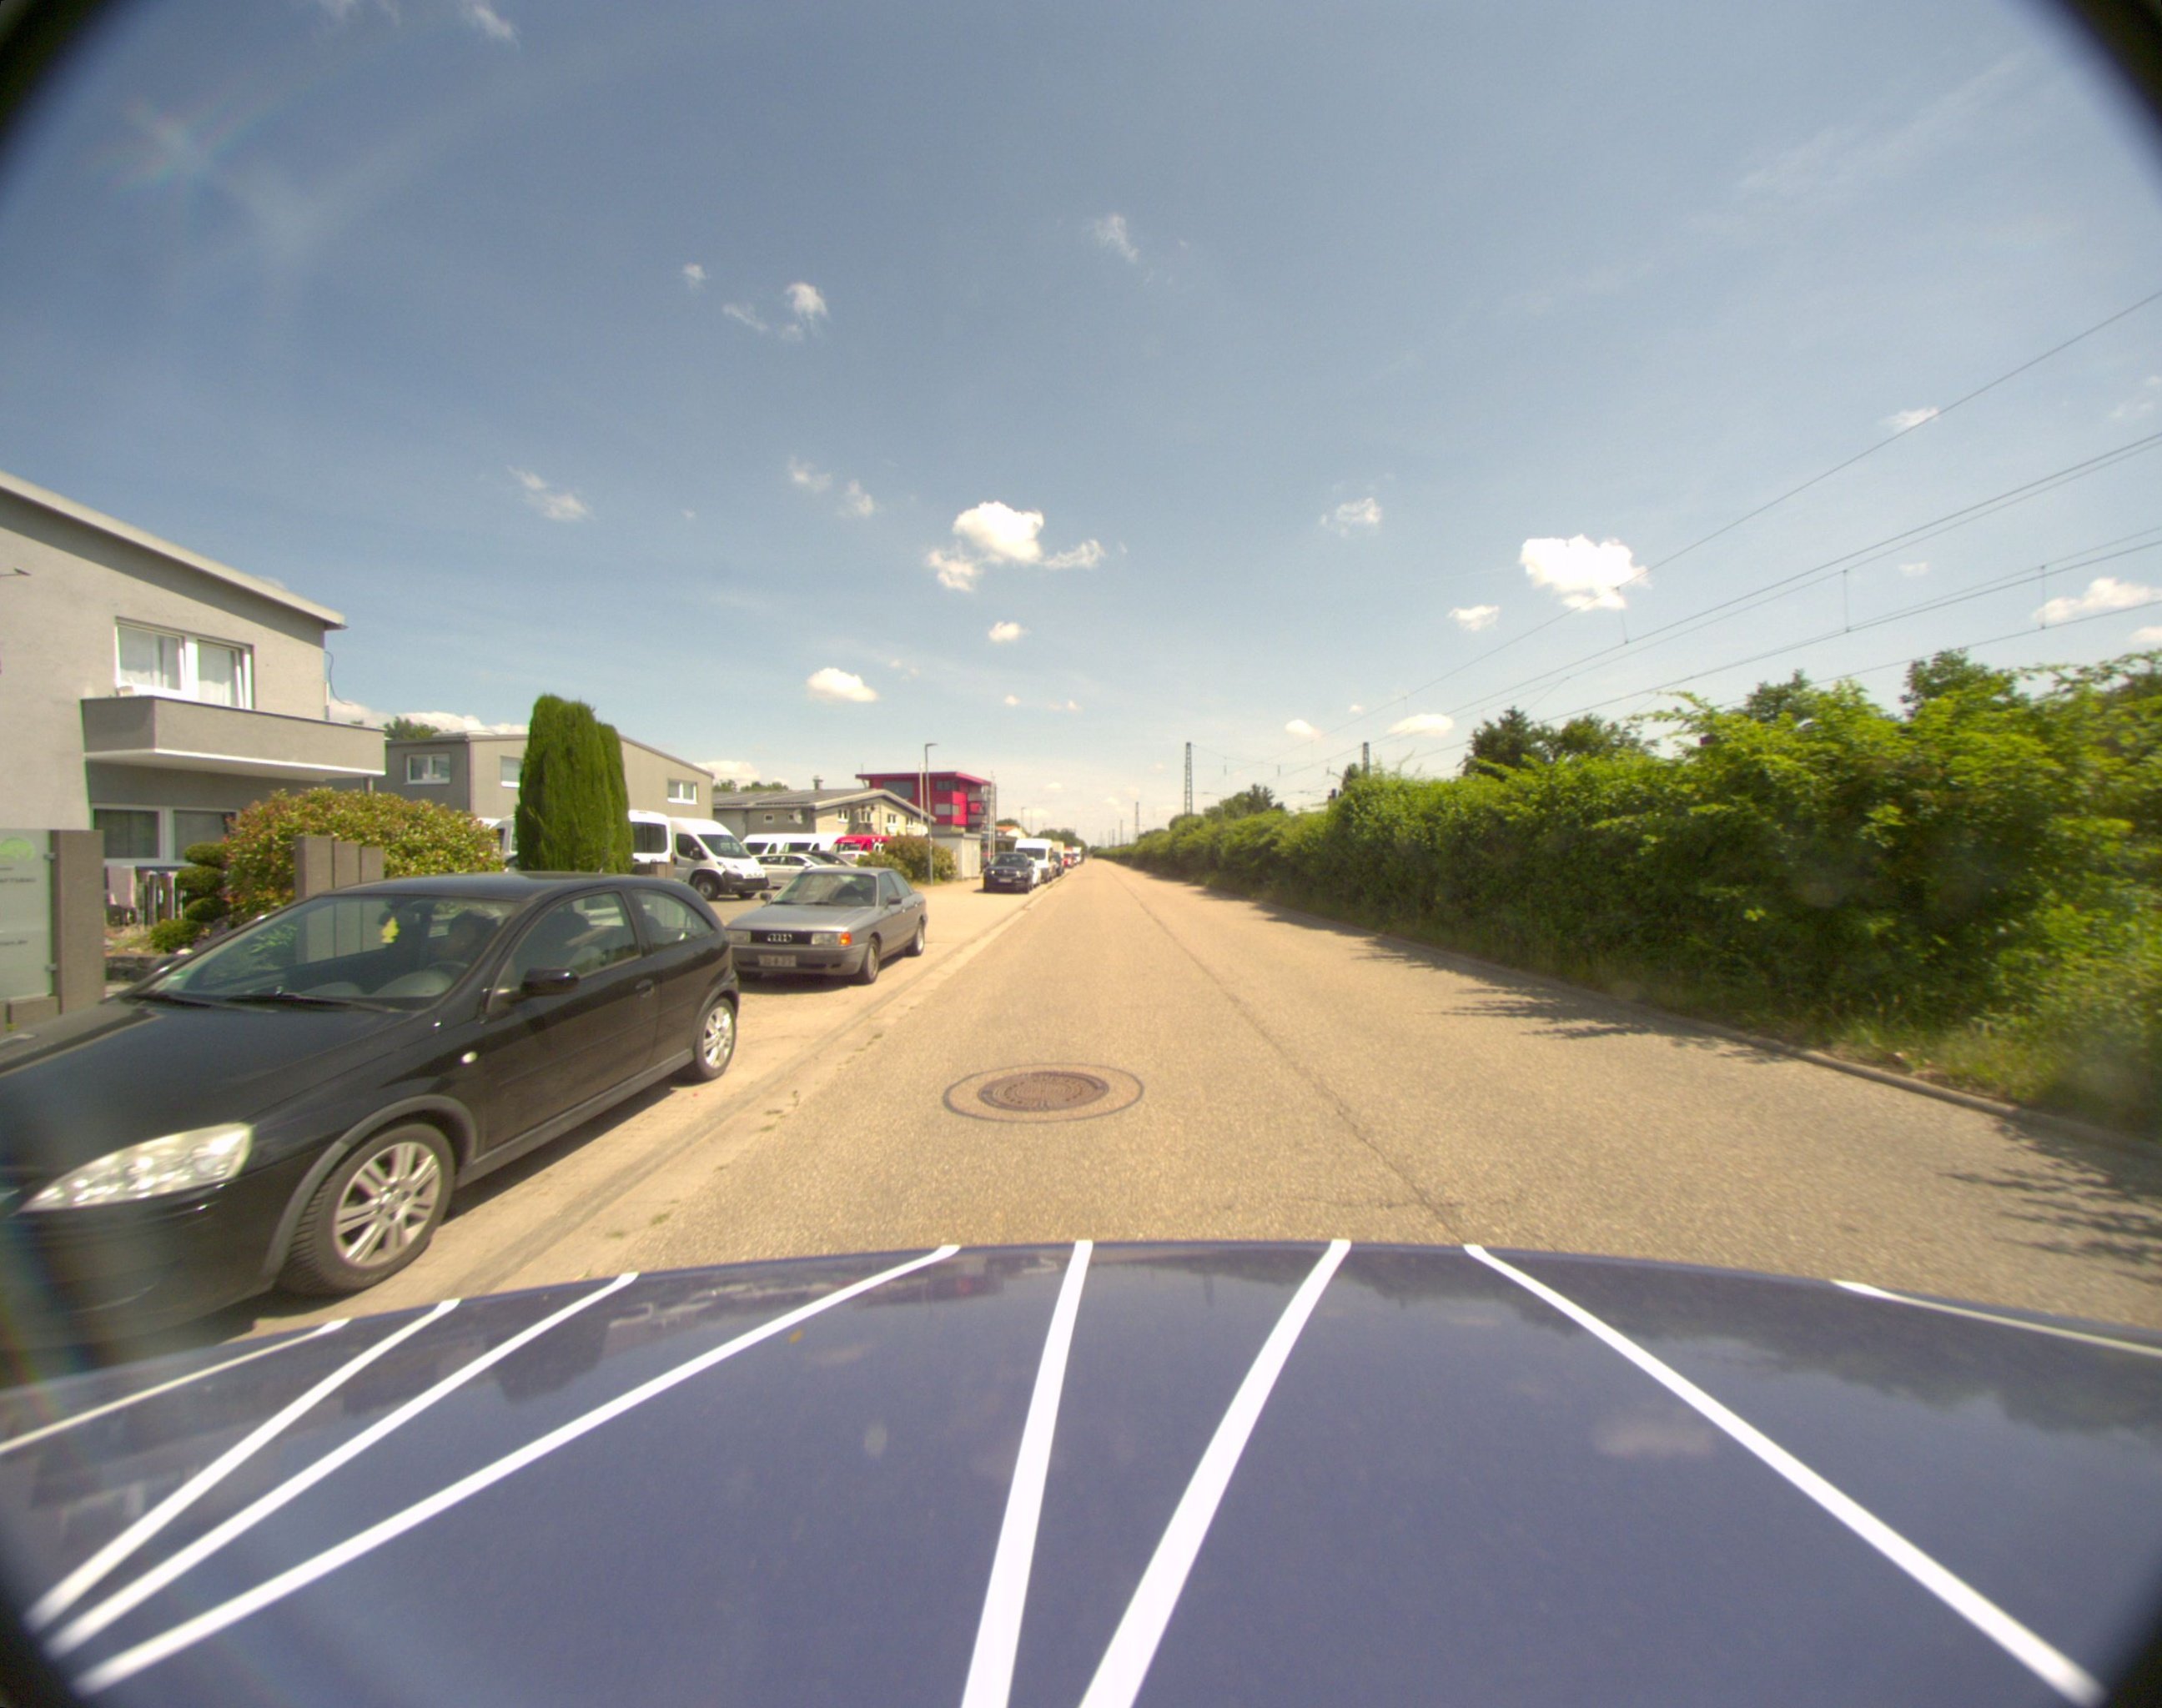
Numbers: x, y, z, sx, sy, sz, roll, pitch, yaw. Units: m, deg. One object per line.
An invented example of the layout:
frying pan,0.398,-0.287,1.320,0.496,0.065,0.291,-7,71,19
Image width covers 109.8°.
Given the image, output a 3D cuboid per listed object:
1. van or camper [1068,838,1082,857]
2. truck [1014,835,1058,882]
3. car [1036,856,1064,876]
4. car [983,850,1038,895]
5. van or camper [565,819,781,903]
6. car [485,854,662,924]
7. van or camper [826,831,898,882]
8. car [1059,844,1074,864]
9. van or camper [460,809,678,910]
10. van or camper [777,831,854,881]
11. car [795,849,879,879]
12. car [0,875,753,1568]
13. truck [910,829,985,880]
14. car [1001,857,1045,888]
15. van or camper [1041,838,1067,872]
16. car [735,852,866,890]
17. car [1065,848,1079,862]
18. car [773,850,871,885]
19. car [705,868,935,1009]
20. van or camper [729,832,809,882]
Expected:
van or camper,-1.023,-1.248,141.109,2.333,3.497,4.770,-2,1,1
truck,-2.527,0.252,43.945,1.998,2.550,5.289,0,0,2
car,-2.285,0.886,56.797,1.805,1.361,3.756,-2,0,1
car,-2.877,0.717,31.693,1.805,1.692,4.000,2,0,1
van or camper,-12.482,0.177,23.369,5.831,2.423,2.136,0,1,11
car,-9.966,0.669,15.015,2.709,1.304,1.169,0,1,1
van or camper,-12.470,0.140,43.698,2.037,2.752,4.900,0,0,10
car,-1.732,-0.042,92.129,1.742,2.258,4.019,-1,1,1
van or camper,-13.781,0.123,20.519,5.098,2.519,2.002,0,1,15
van or camper,-15.474,0.090,44.597,2.095,2.752,4.900,0,0,10
car,-12.277,0.497,38.377,3.702,1.478,1.714,0,1,2
car,-3.280,0.910,3.702,1.618,1.464,3.875,1,0,1
truck,-7.437,0.008,43.014,2.381,2.673,5.787,0,0,10
car,-2.794,0.861,37.409,1.805,1.410,3.757,1,0,1
van or camper,-2.316,0.089,66.664,1.998,2.855,4.395,-1,1,1
car,-11.150,0.664,30.434,4.605,1.478,1.714,0,1,2
car,-1.349,0.184,115.285,1.998,2.002,3.999,-2,1,1
car,-11.365,0.577,33.444,3.702,1.478,1.714,0,1,2
car,-3.243,0.957,10.355,1.618,1.415,4.195,1,0,1
van or camper,-18.260,0.150,44.756,2.104,2.752,4.900,0,0,10
